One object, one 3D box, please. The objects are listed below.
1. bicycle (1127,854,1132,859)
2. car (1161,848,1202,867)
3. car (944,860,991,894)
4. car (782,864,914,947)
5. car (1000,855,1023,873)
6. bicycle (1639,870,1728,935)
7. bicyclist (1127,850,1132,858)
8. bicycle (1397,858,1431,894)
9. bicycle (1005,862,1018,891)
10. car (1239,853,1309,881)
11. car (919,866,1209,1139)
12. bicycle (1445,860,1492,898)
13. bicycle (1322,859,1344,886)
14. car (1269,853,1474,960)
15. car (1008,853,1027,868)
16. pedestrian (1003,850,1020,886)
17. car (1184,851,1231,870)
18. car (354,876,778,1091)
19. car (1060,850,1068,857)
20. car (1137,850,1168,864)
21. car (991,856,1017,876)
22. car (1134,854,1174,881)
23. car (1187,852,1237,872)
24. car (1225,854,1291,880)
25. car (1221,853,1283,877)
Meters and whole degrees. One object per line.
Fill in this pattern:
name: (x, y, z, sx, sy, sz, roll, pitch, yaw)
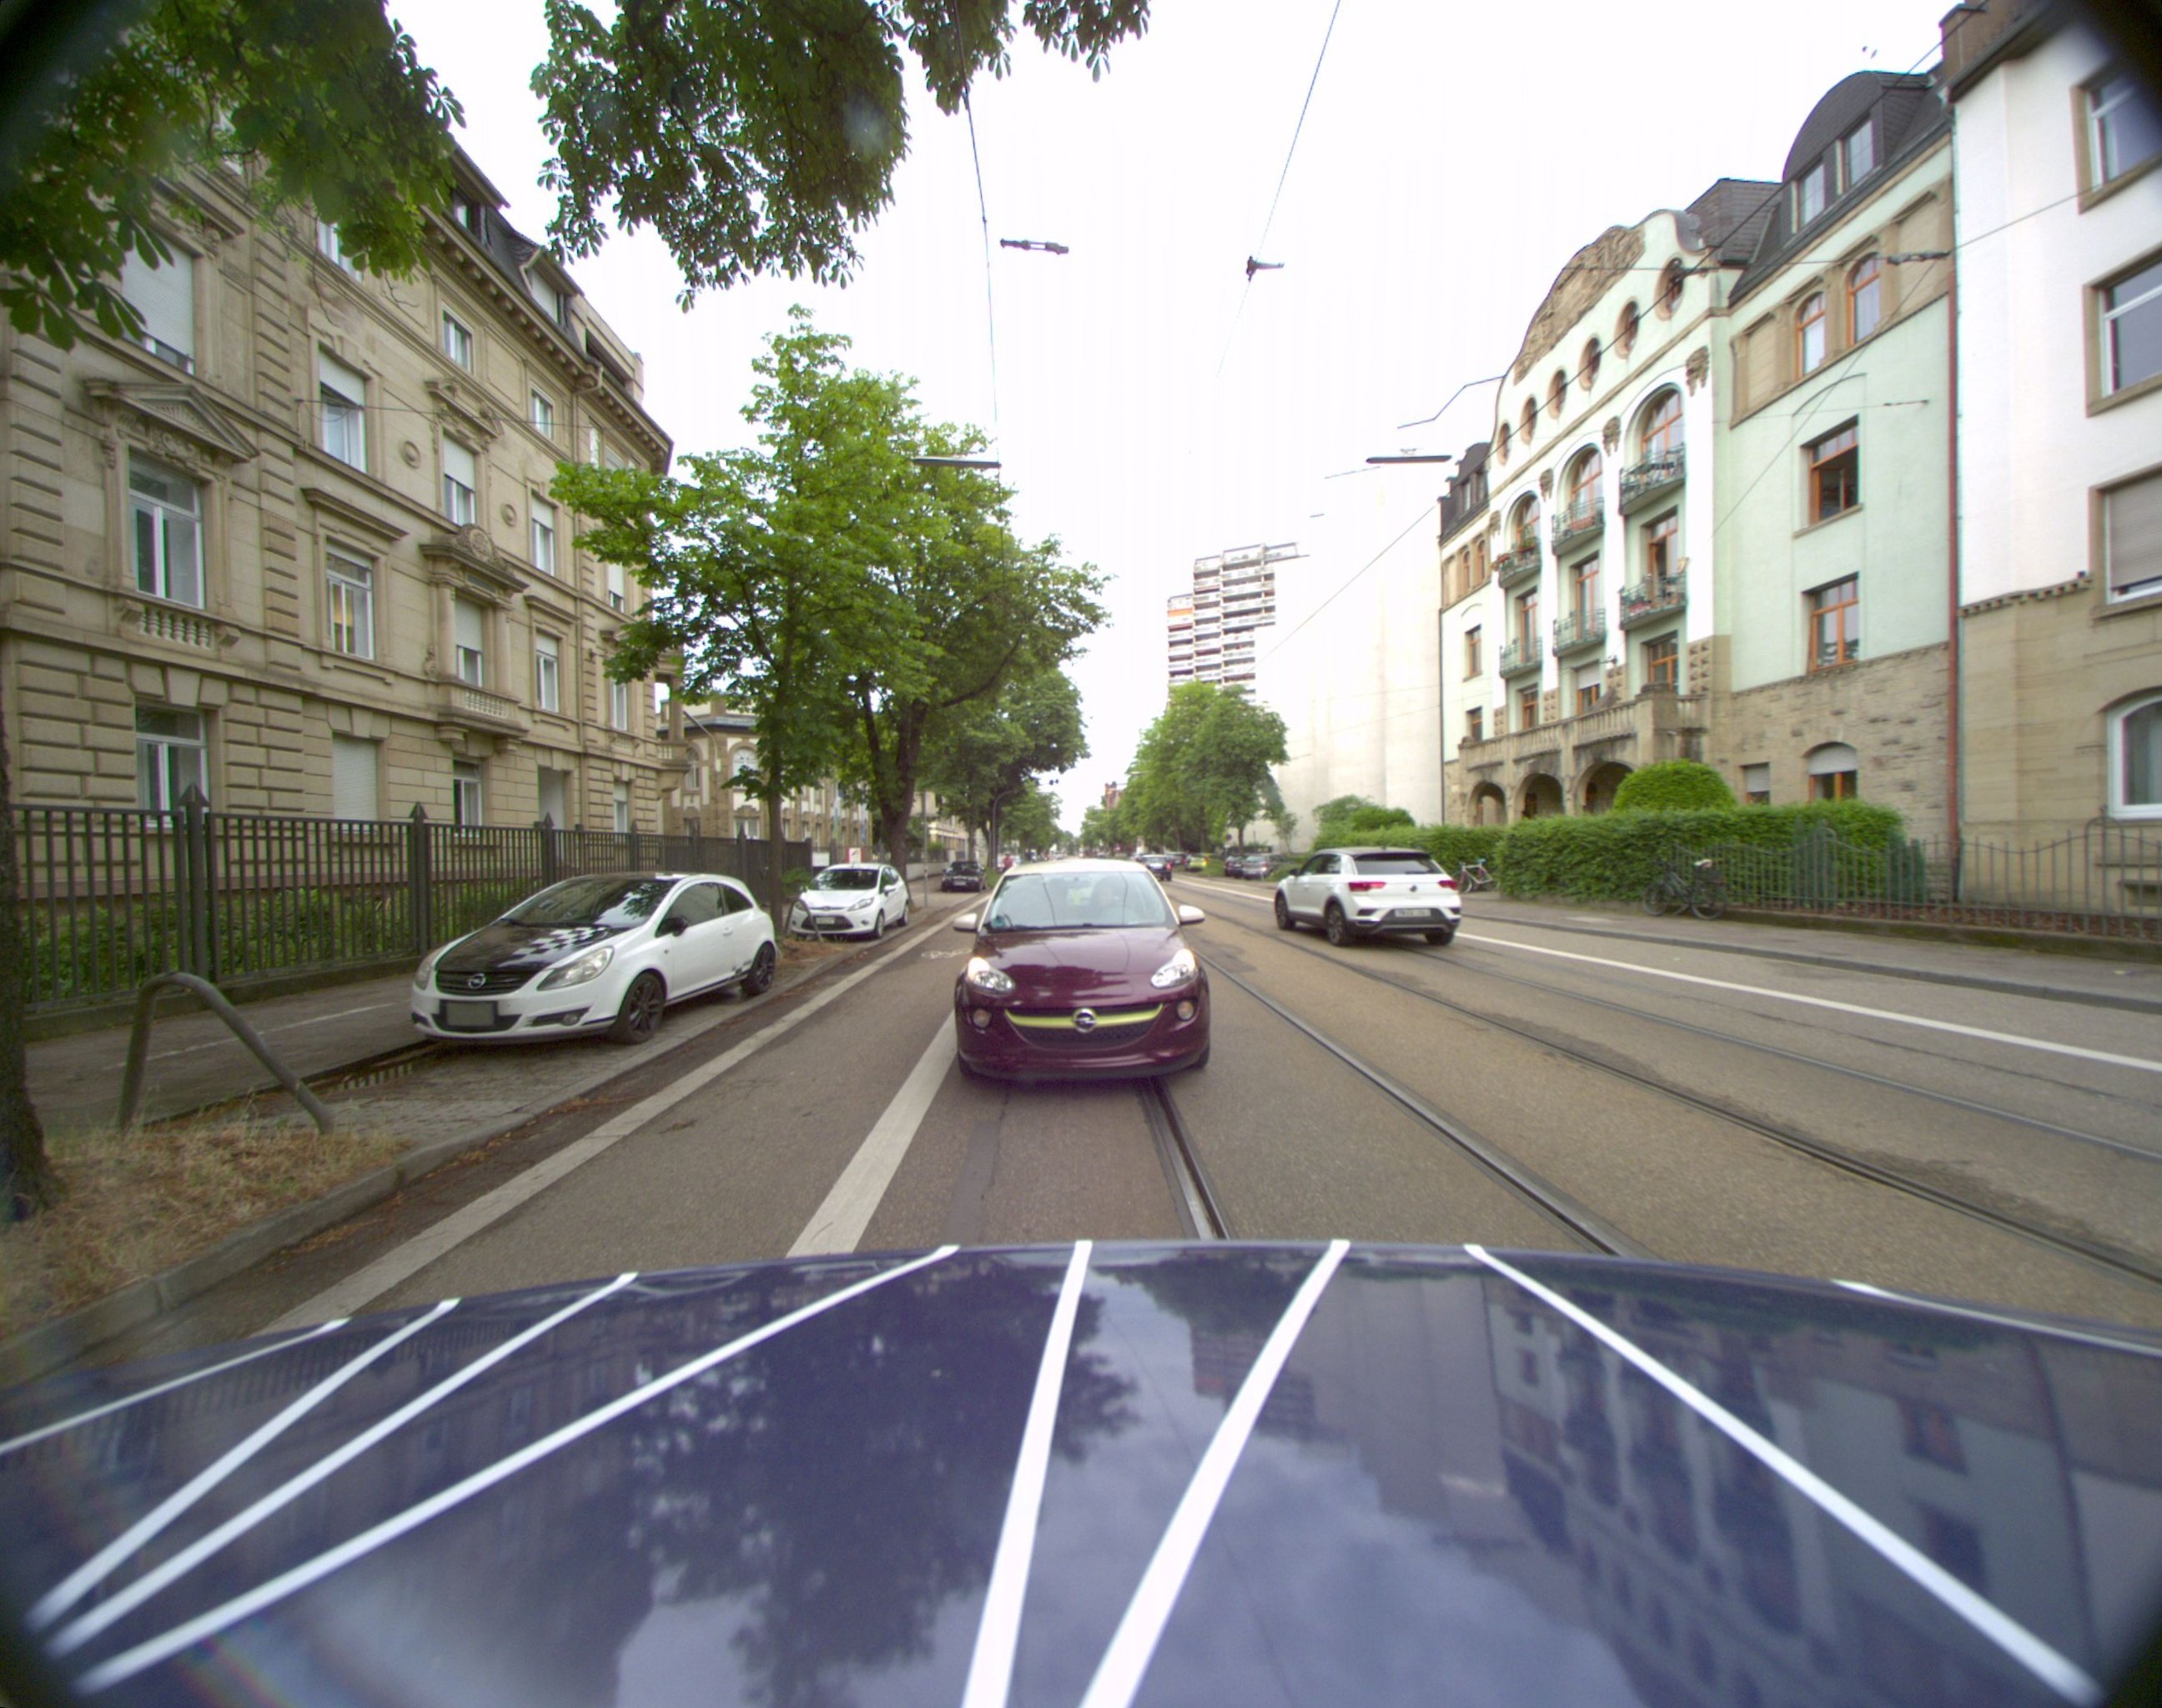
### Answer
bicycle: (7.544, 0.367, 118.372, 0.568, 0.784, 1.890, -1, 0, -2)
car: (9.312, 0.304, 70.177, 4.008, 1.611, 1.690, -1, 1, -45)
car: (-5.059, 0.995, 34.353, 1.606, 1.362, 3.836, 1, 0, -1)
car: (-4.689, 0.972, 15.828, 1.631, 1.427, 3.763, 1, 0, -1)
car: (-5.815, 0.826, 64.134, 1.606, 1.416, 3.836, 1, 0, -1)
bicycle: (10.963, 0.849, 13.877, 0.360, 1.077, 1.546, -1, 1, -1)
bicyclist: (7.543, 0.003, 118.494, 0.752, 1.247, 0.875, -1, 1, -1)
bicycle: (10.648, 0.688, 24.318, 0.360, 1.077, 1.546, -1, 1, -1)
bicycle: (-3.080, 0.991, 33.641, 0.414, 1.197, 1.706, -1, 1, -1)
car: (10.538, 0.686, 41.260, 4.008, 1.395, 1.690, -1, 1, -41)
car: (-0.106, 0.879, 6.249, 1.606, 1.427, 3.776, -2, 0, 0)
bicycle: (11.629, 0.747, 22.829, 1.205, 1.077, 0.300, -3, 1, 0)
bicycle: (10.503, 0.778, 31.698, 0.360, 1.077, 1.546, -1, 1, -1)
car: (4.555, 0.733, 12.595, 1.703, 1.487, 3.929, 0, 0, -3)
car: (-6.366, 0.652, 76.550, 1.606, 1.362, 3.836, 1, 0, -1)
pedestrian: (-3.054, 0.619, 33.436, 0.684, 1.541, 0.704, -1, 1, -1)
car: (10.108, 0.522, 60.473, 4.008, 1.434, 1.690, -1, 1, -45)
car: (-4.529, 1.007, 7.459, 1.606, 1.427, 3.776, 1, 0, 0)
car: (-4.839, -0.129, 216.272, 1.998, 2.002, 3.999, -2, 1, 1)
car: (8.814, 0.347, 93.417, 4.008, 1.611, 1.690, -1, 1, -45)
car: (-5.755, 0.853, 56.792, 1.606, 1.362, 3.836, 1, 0, -1)
car: (3.930, 0.708, 41.402, 1.613, 1.414, 3.485, 0, 0, -4)
car: (9.961, 0.583, 57.420, 4.008, 1.387, 1.690, -1, 1, -45)
car: (10.278, 0.724, 44.088, 4.008, 1.395, 1.690, -1, 1, -41)
car: (10.686, 0.658, 47.264, 4.008, 1.395, 1.690, -1, 1, -41)
